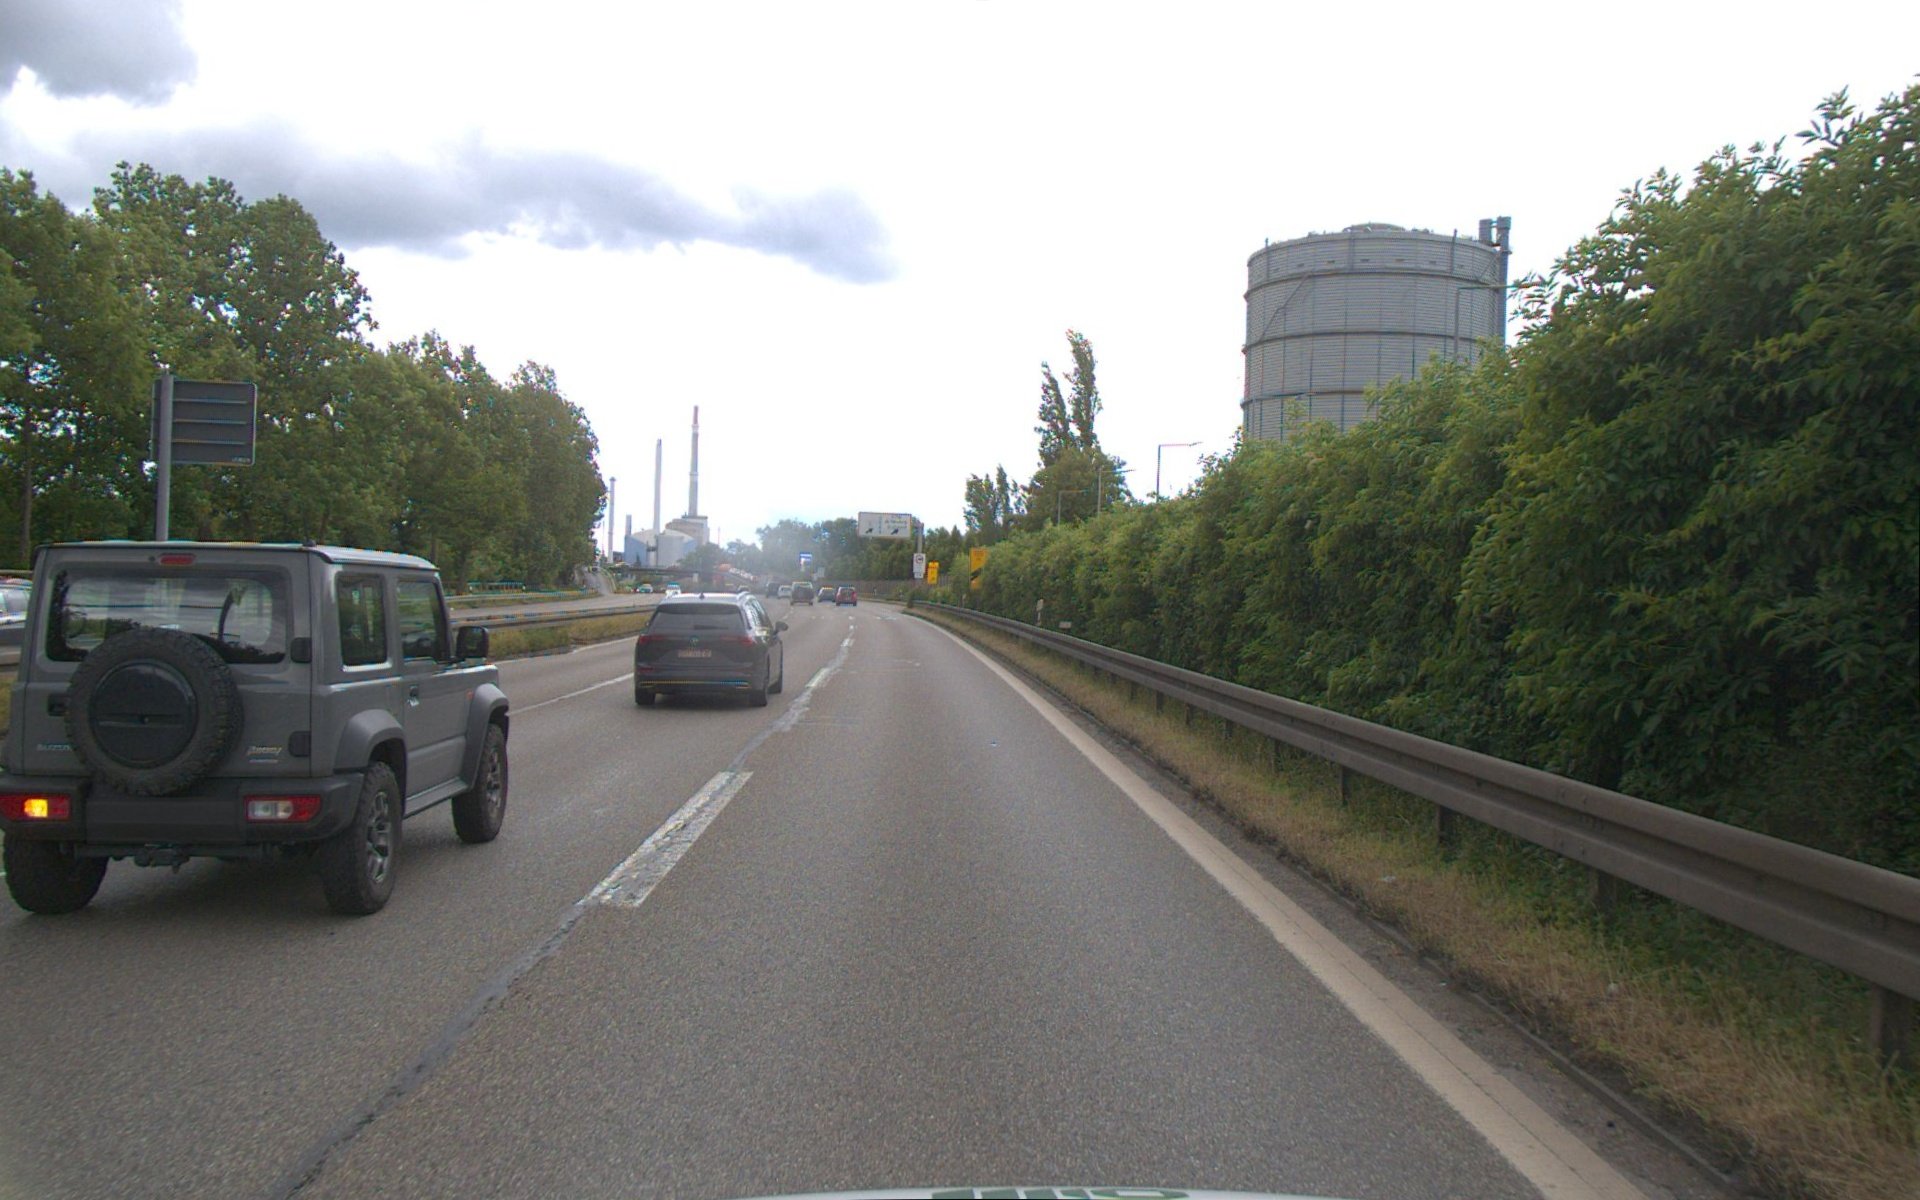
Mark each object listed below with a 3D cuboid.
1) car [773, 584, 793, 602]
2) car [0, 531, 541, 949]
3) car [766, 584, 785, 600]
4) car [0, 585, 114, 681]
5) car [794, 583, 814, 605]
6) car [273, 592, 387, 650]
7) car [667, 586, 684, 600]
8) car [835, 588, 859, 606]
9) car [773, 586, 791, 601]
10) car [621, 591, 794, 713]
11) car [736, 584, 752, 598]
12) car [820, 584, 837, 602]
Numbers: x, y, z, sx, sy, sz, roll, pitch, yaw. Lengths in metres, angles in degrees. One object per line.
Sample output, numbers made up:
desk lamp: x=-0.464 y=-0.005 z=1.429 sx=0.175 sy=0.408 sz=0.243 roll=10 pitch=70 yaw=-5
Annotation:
car: x=-20.825 y=-0.828 z=194.308 sx=1.977 sy=1.968 sz=4.887 roll=1 pitch=0 yaw=-11
car: x=-3.507 y=0.564 z=8.815 sx=1.663 sy=1.715 sz=3.998 roll=1 pitch=0 yaw=-3
car: x=-23.832 y=-1.034 z=213.371 sx=1.977 sy=1.968 sz=4.887 roll=1 pitch=0 yaw=-11
car: x=-16.033 y=0.508 z=26.900 sx=1.824 sy=1.490 sz=5.549 roll=1 pitch=0 yaw=-2
car: x=-12.917 y=-0.474 z=136.838 sx=1.665 sy=1.772 sz=3.995 roll=1 pitch=0 yaw=-6
car: x=-16.724 y=0.536 z=44.075 sx=1.627 sy=1.449 sz=3.910 roll=1 pitch=0 yaw=-2
car: x=-30.719 y=-0.763 z=178.699 sx=1.583 sy=1.410 sz=3.728 roll=2 pitch=0 yaw=-6
car: x=-9.535 y=-0.253 z=138.800 sx=1.936 sy=1.448 sz=4.896 roll=1 pitch=0 yaw=-5
car: x=-20.802 y=-0.763 z=193.186 sx=1.667 sy=1.772 sz=4.382 roll=0 pitch=0 yaw=-11
car: x=-3.365 y=0.629 z=22.892 sx=1.808 sy=1.448 sz=4.898 roll=2 pitch=0 yaw=-3
car: x=-29.043 y=-1.224 z=222.071 sx=1.668 sy=1.772 sz=4.378 roll=0 pitch=0 yaw=-13
car: x=-13.275 y=-0.671 z=166.454 sx=1.665 sy=1.772 sz=4.388 roll=0 pitch=0 yaw=-6
